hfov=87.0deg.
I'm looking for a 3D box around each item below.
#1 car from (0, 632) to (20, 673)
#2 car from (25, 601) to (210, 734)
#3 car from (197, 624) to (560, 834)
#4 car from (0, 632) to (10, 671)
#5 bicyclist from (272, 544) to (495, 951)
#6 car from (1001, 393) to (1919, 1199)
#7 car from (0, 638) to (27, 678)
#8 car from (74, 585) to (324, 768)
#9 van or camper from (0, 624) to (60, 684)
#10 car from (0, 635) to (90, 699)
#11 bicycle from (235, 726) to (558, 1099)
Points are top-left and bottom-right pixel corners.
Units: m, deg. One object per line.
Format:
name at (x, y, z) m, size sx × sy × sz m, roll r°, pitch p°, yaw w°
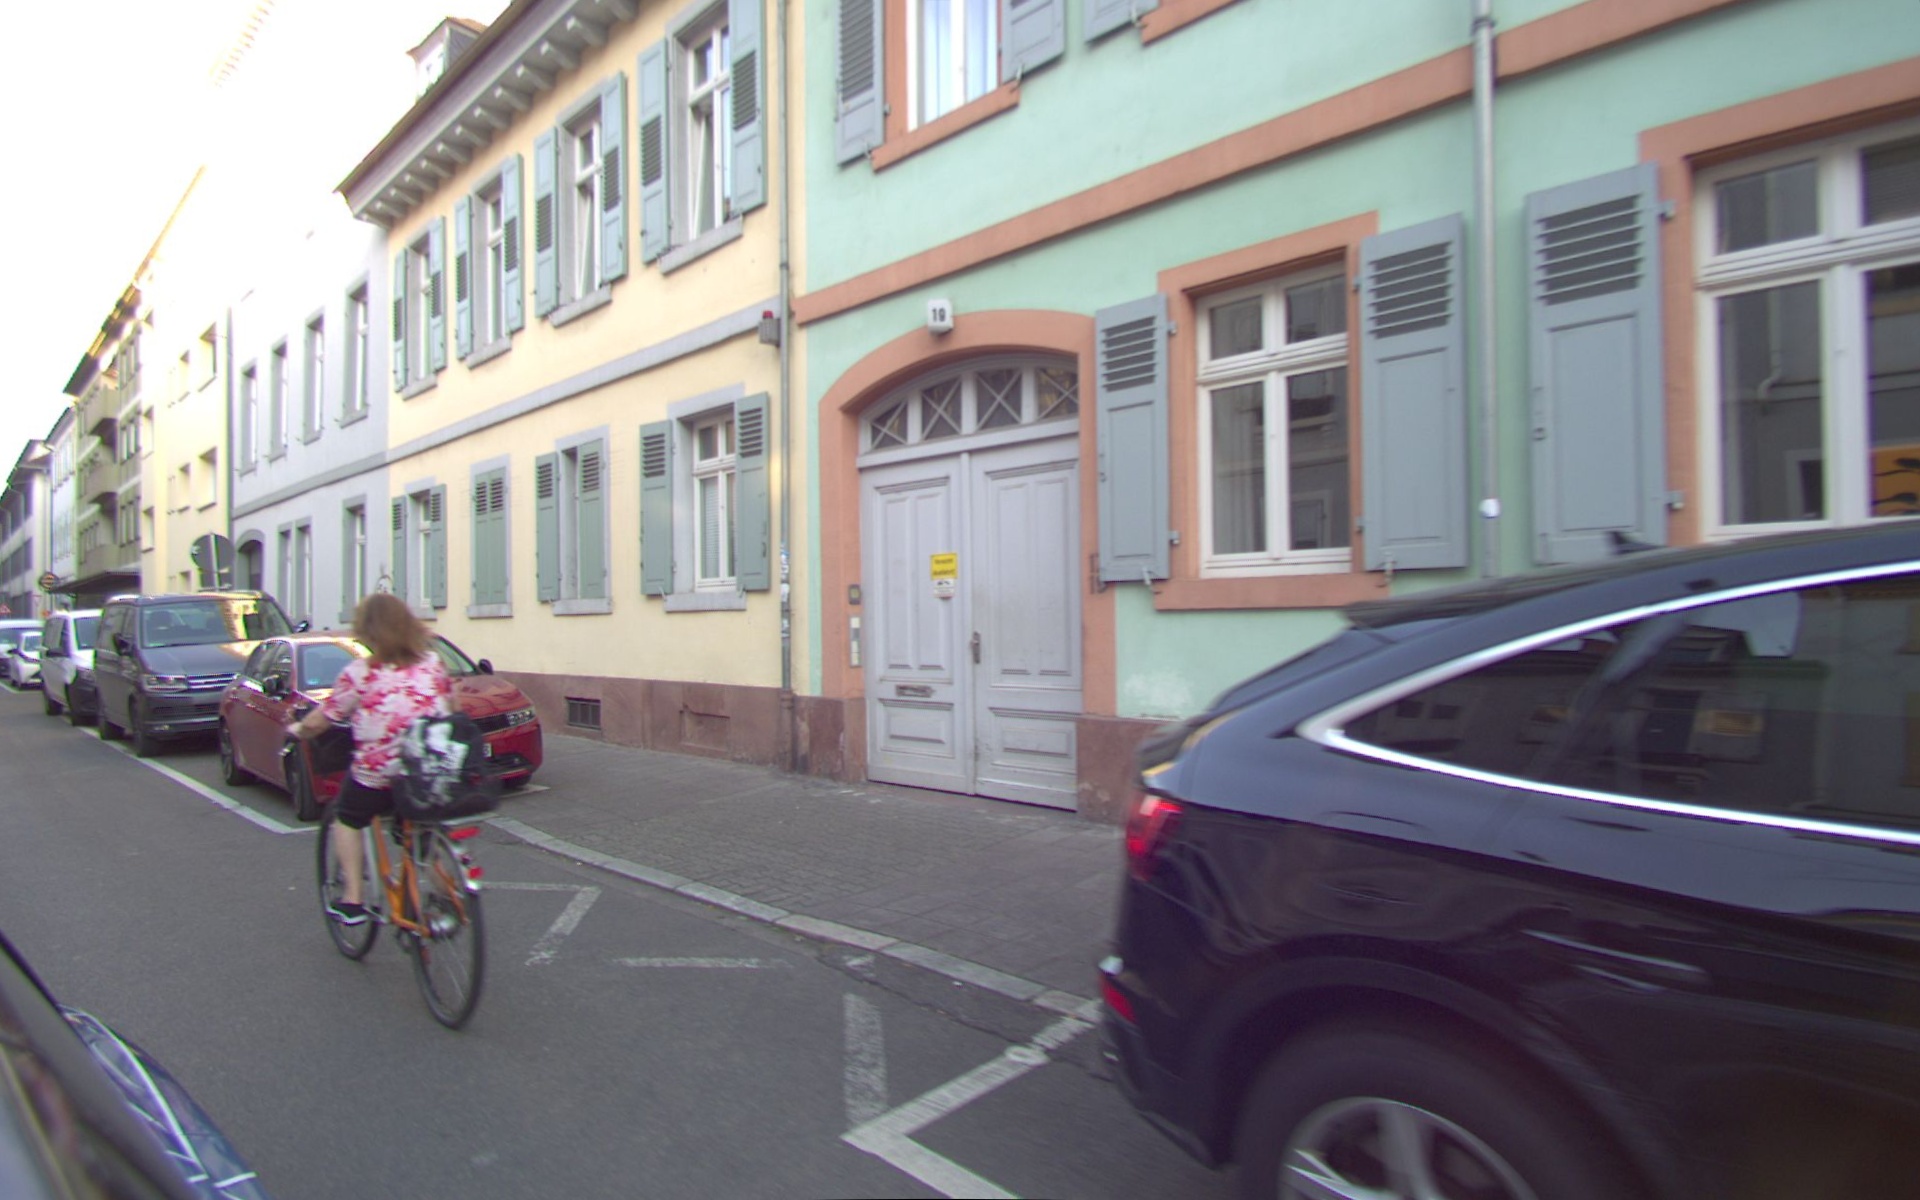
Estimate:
car at (-44.086, 2.389, 45.938) m, size 4.510 × 1.825 × 1.753 m, roll -2°, pitch -1°, yaw 43°
car at (-15.049, 1.122, 17.967) m, size 5.105 × 2.029 × 1.842 m, roll -2°, pitch -2°, yaw 43°
car at (-5.394, 0.962, 9.110) m, size 4.264 × 1.412 × 1.745 m, roll -2°, pitch -1°, yaw 44°
car at (-47.919, 2.524, 49.351) m, size 4.448 × 1.825 × 1.857 m, roll -2°, pitch -1°, yaw 41°
bicyclist at (-2.208, 0.506, 3.870) m, size 0.598 × 1.380 × 0.622 m, roll 0°, pitch -2°, yaw -44°
car at (2.313, 0.573, 1.401) m, size 1.782 × 1.689 × 4.492 m, roll 1°, pitch -2°, yaw -45°
car at (-36.745, 2.200, 38.437) m, size 3.980 × 1.426 × 1.607 m, roll -2°, pitch -1°, yaw 42°
car at (-10.331, 0.933, 13.587) m, size 4.813 × 2.029 × 1.842 m, roll -2°, pitch -2°, yaw 43°
van or camper at (-31.054, 1.745, 33.378) m, size 4.180 × 1.862 × 1.752 m, roll -2°, pitch -2°, yaw 45°
car at (-24.426, 1.720, 26.843) m, size 3.521 × 1.459 × 1.644 m, roll -2°, pitch 1°, yaw 43°
bicycle at (-2.259, 1.047, 3.925) m, size 0.606 × 0.939 × 1.887 m, roll 0°, pitch -2°, yaw -45°
